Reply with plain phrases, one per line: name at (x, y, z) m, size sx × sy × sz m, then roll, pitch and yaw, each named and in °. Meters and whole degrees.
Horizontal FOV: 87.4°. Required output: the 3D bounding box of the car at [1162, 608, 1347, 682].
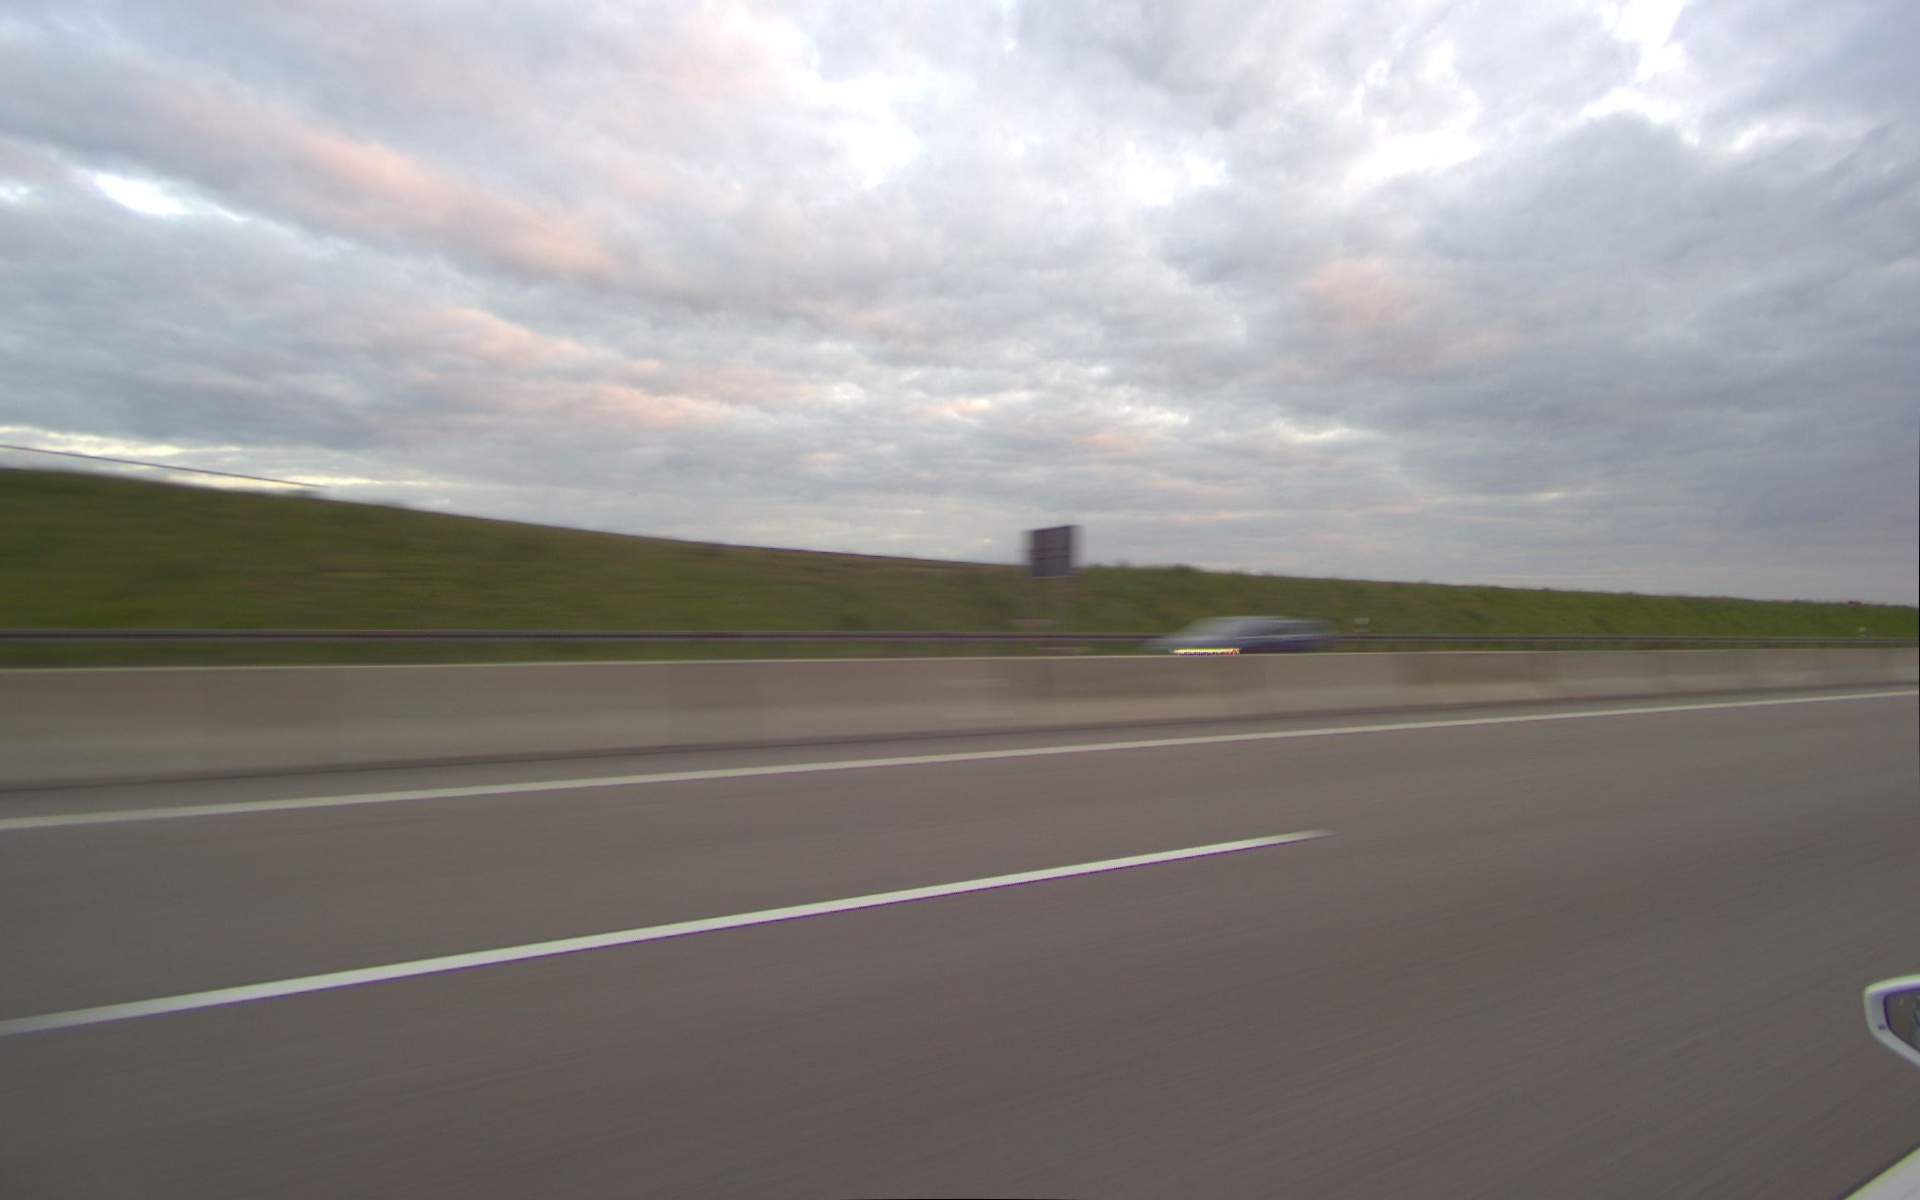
car at (7.445, 1.080, 25.256) m, size 4.597 × 1.685 × 1.815 m, roll 1°, pitch 0°, yaw -31°
